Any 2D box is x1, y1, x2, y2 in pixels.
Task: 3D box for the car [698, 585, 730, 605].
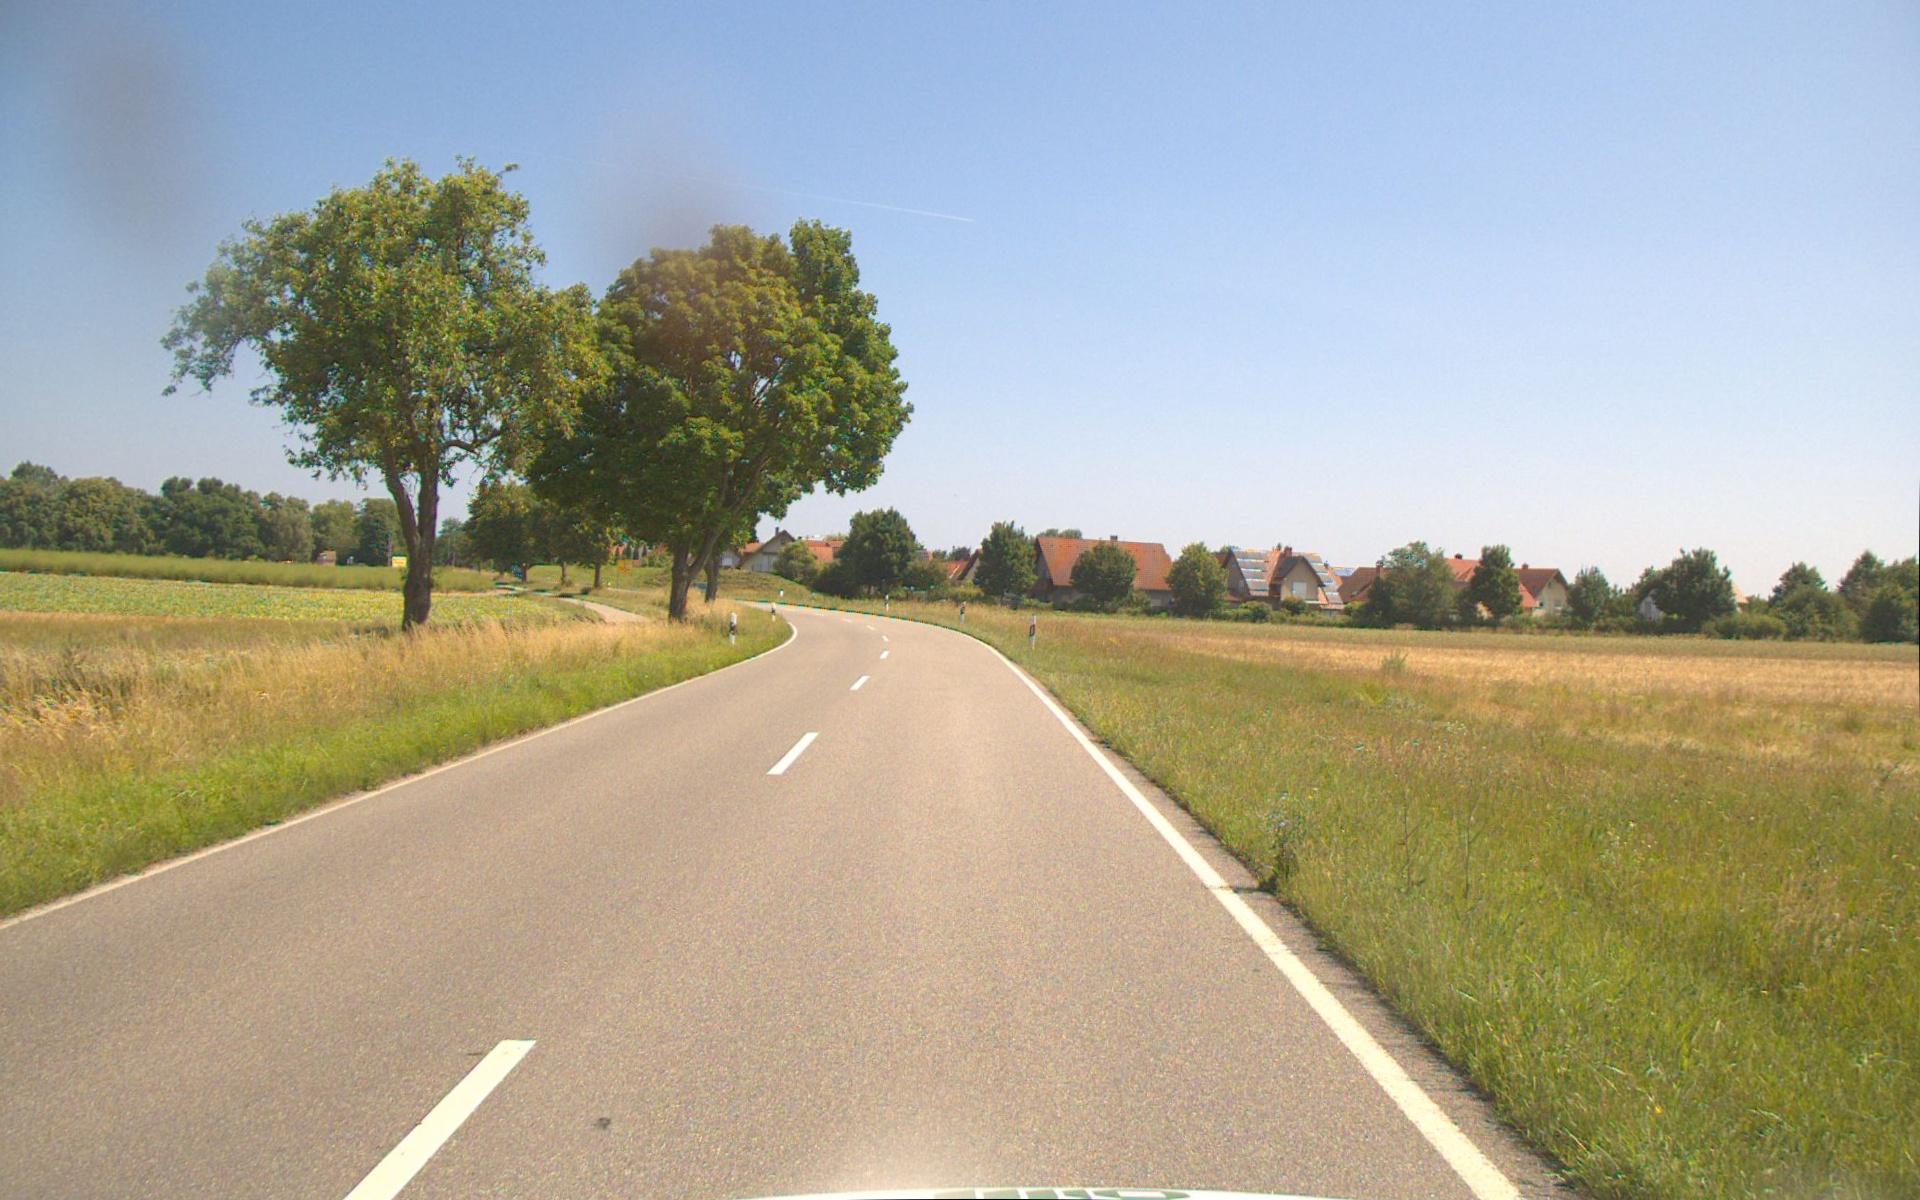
[{"bbox_3d":[-18.537,-0.400,124.629,1.620,1.454,4.156,-1,1,-20],"label":"car"}]
